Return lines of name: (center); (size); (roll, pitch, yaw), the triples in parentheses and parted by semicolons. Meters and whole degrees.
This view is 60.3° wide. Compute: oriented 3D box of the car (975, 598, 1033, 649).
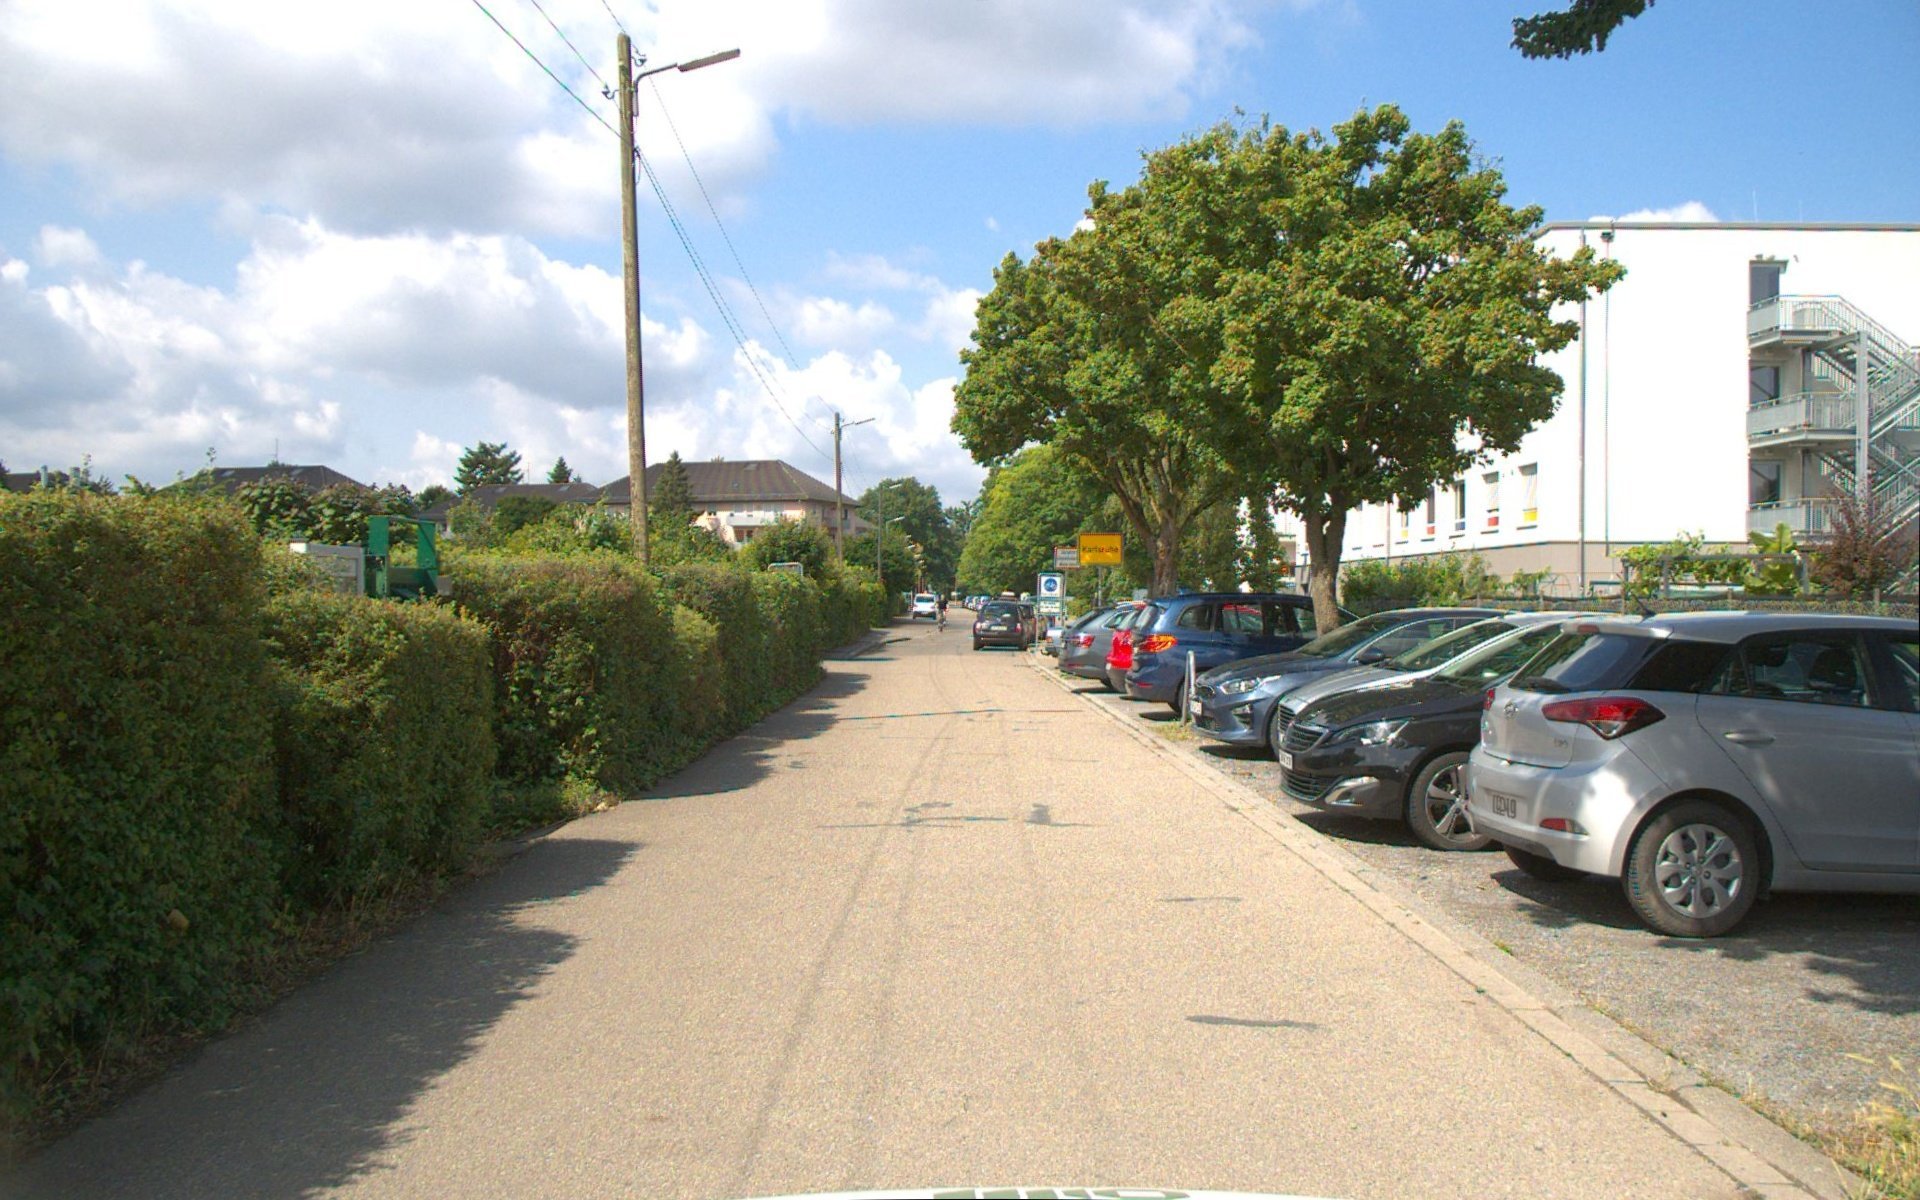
car: (1.440, 0.740, 53.002); (1.628, 1.532, 4.002); (1, 0, 4)

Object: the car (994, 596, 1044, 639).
car: (2.296, 0.671, 64.130); (1.628, 1.579, 3.640); (1, 0, 6)

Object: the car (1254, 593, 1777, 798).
car: (4.527, 0.754, 13.903); (3.736, 1.518, 1.902); (1, 0, -1)

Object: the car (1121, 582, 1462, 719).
car: (4.221, 0.633, 21.560); (4.069, 1.666, 1.879); (0, 0, 0)

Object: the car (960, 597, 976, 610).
car: (1.098, 0.443, 215.236); (1.813, 1.646, 4.002); (1, 0, 4)

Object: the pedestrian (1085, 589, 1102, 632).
pedestrian: (5.604, 0.433, 69.412); (0.597, 1.776, 0.722); (1, -1, 13)

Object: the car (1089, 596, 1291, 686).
car: (4.296, 0.753, 31.210); (3.503, 1.576, 1.665); (1, 0, -4)

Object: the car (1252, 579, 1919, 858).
car: (4.261, 0.734, 11.076); (4.215, 1.622, 1.999); (1, 0, -1)

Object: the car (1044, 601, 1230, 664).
car: (4.157, 0.762, 39.238); (4.267, 1.416, 1.719); (-1, 0, 3)

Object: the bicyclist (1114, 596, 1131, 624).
bicyclist: (10.677, 0.688, 108.955); (0.770, 1.817, 0.892); (1, -1, 32)

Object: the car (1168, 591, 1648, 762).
car: (4.360, 0.724, 16.582); (4.247, 1.518, 1.975); (1, 0, -2)

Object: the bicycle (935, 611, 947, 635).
bicycle: (-0.943, 1.165, 82.949); (0.507, 1.170, 1.827); (-1, 0, 2)

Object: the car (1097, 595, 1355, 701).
car: (4.082, 0.723, 25.810); (3.732, 1.559, 1.762); (0, 0, -1)

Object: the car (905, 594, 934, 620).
car: (-2.976, 0.527, 121.396); (1.863, 1.846, 4.001); (1, 0, 2)

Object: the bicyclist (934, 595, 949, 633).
bicyclist: (-0.934, 0.696, 82.856); (0.645, 1.884, 1.043); (-1, 0, 2)

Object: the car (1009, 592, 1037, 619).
car: (4.717, 0.390, 123.769); (2.015, 1.960, 4.542); (1, 0, 2)

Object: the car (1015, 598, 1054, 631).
car: (3.370, 0.654, 75.092); (1.629, 1.460, 3.542); (1, 0, 0)

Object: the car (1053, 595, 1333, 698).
car: (3.908, 0.770, 28.217); (4.457, 1.606, 1.808); (1, 0, -2)

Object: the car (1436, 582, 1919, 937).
car: (4.543, 0.751, 8.435); (3.650, 1.567, 1.848); (1, 0, -4)
